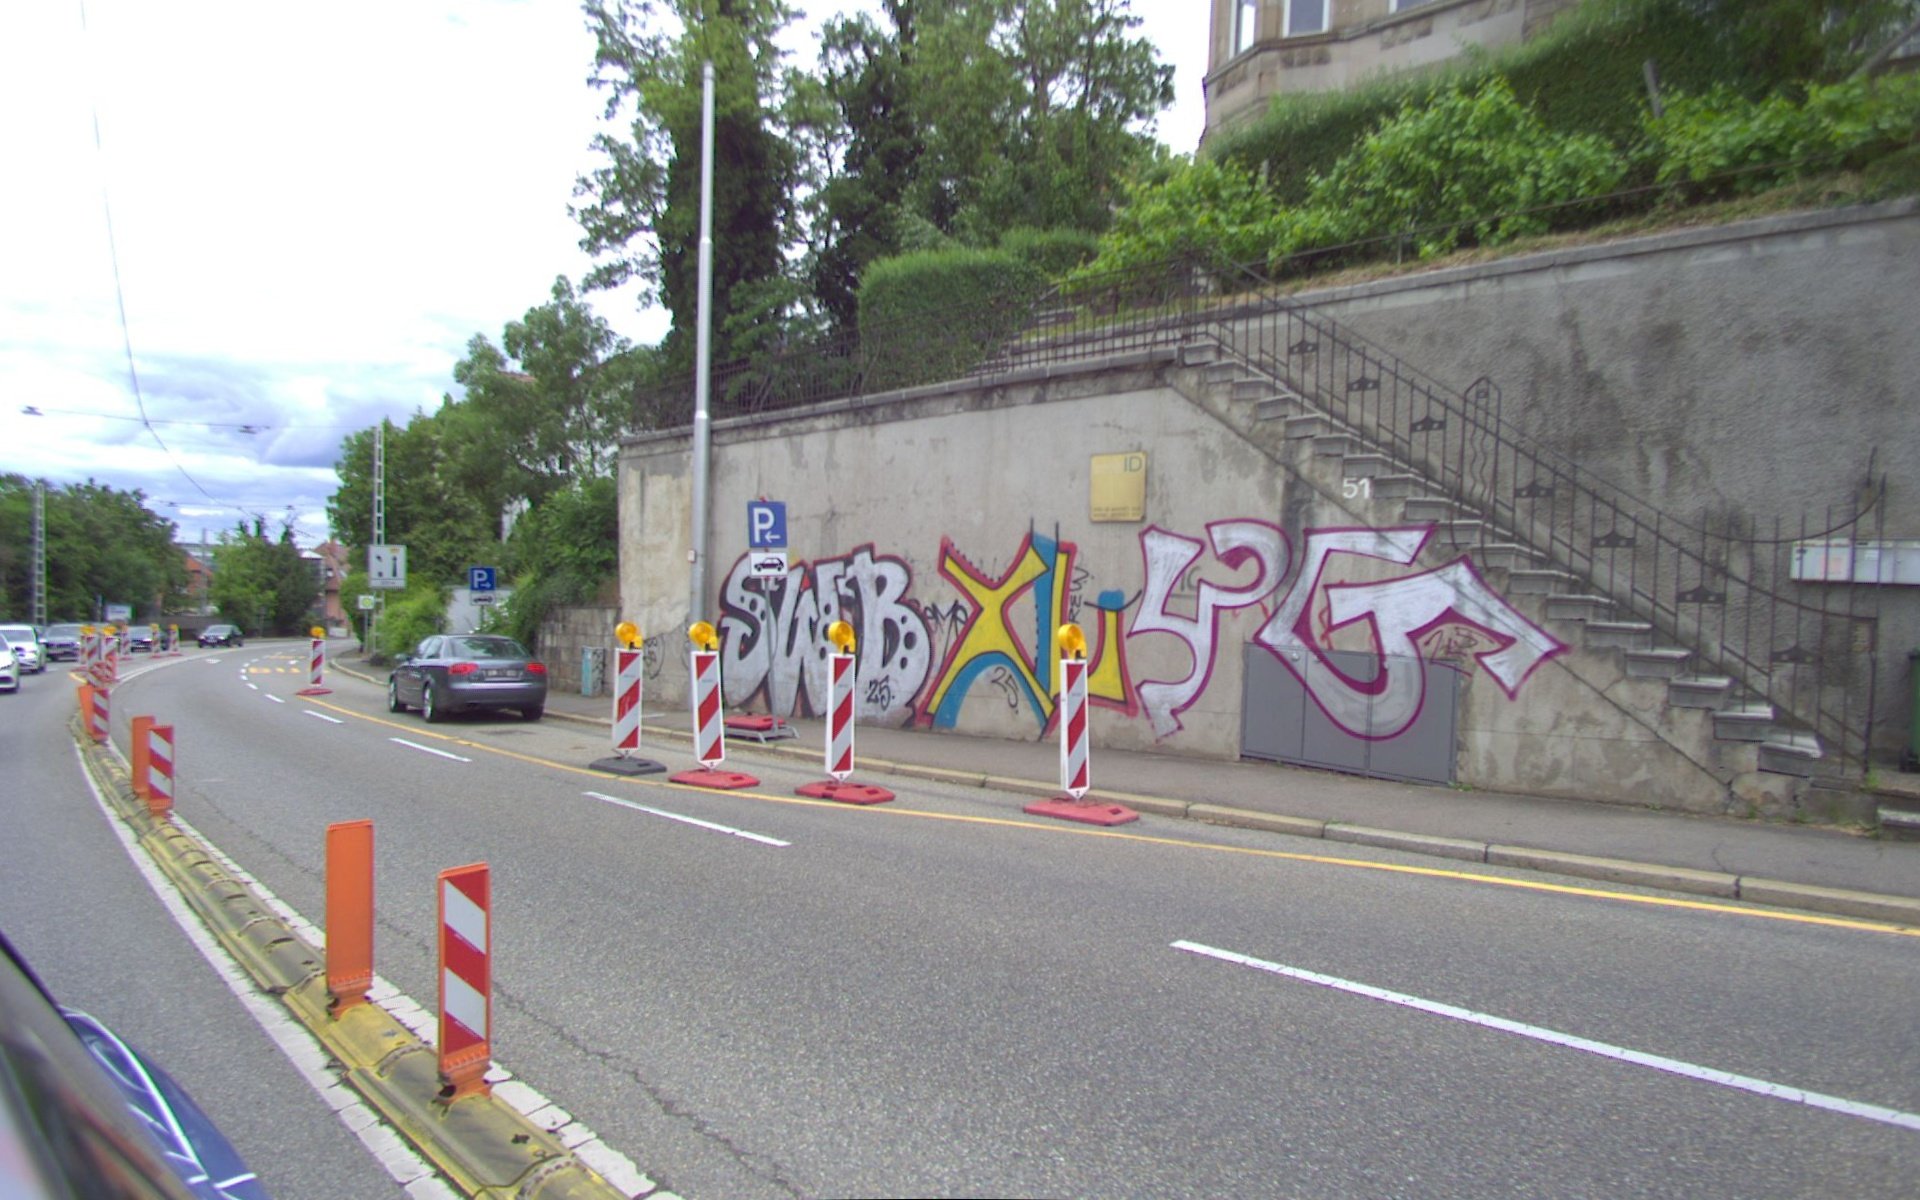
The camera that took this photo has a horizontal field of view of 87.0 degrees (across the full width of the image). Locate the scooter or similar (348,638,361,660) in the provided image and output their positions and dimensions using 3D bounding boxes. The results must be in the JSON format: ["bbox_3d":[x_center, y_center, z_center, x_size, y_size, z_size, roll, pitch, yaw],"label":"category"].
[{"bbox_3d":[-34.070,2.763,56.910,0.423,1.218,1.284,-1,-1,-40],"label":"scooter or similar"}]

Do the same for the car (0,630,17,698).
[{"bbox_3d":[-23.217,1.477,23.590,1.766,1.492,4.249,0,-1,-42],"label":"car"}]

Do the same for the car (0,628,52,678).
[{"bbox_3d":[-31.185,1.709,33.239,1.764,1.563,4.253,1,-2,-38],"label":"car"}]

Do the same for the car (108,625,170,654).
[{"bbox_3d":[-45.530,2.188,56.218,1.769,1.522,4.013,1,-1,-26],"label":"car"}]

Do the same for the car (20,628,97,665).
[{"bbox_3d":[-39.336,2.026,44.261,1.769,1.522,4.011,3,-3,-32],"label":"car"}]

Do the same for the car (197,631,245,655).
[{"bbox_3d":[-48.362,2.801,66.311,1.762,1.492,4.258,0,-2,-26],"label":"car"}]

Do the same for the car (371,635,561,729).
[{"bbox_3d":[-8.521,1.314,17.256,1.777,1.383,4.394,4,-4,-41],"label":"car"}]
